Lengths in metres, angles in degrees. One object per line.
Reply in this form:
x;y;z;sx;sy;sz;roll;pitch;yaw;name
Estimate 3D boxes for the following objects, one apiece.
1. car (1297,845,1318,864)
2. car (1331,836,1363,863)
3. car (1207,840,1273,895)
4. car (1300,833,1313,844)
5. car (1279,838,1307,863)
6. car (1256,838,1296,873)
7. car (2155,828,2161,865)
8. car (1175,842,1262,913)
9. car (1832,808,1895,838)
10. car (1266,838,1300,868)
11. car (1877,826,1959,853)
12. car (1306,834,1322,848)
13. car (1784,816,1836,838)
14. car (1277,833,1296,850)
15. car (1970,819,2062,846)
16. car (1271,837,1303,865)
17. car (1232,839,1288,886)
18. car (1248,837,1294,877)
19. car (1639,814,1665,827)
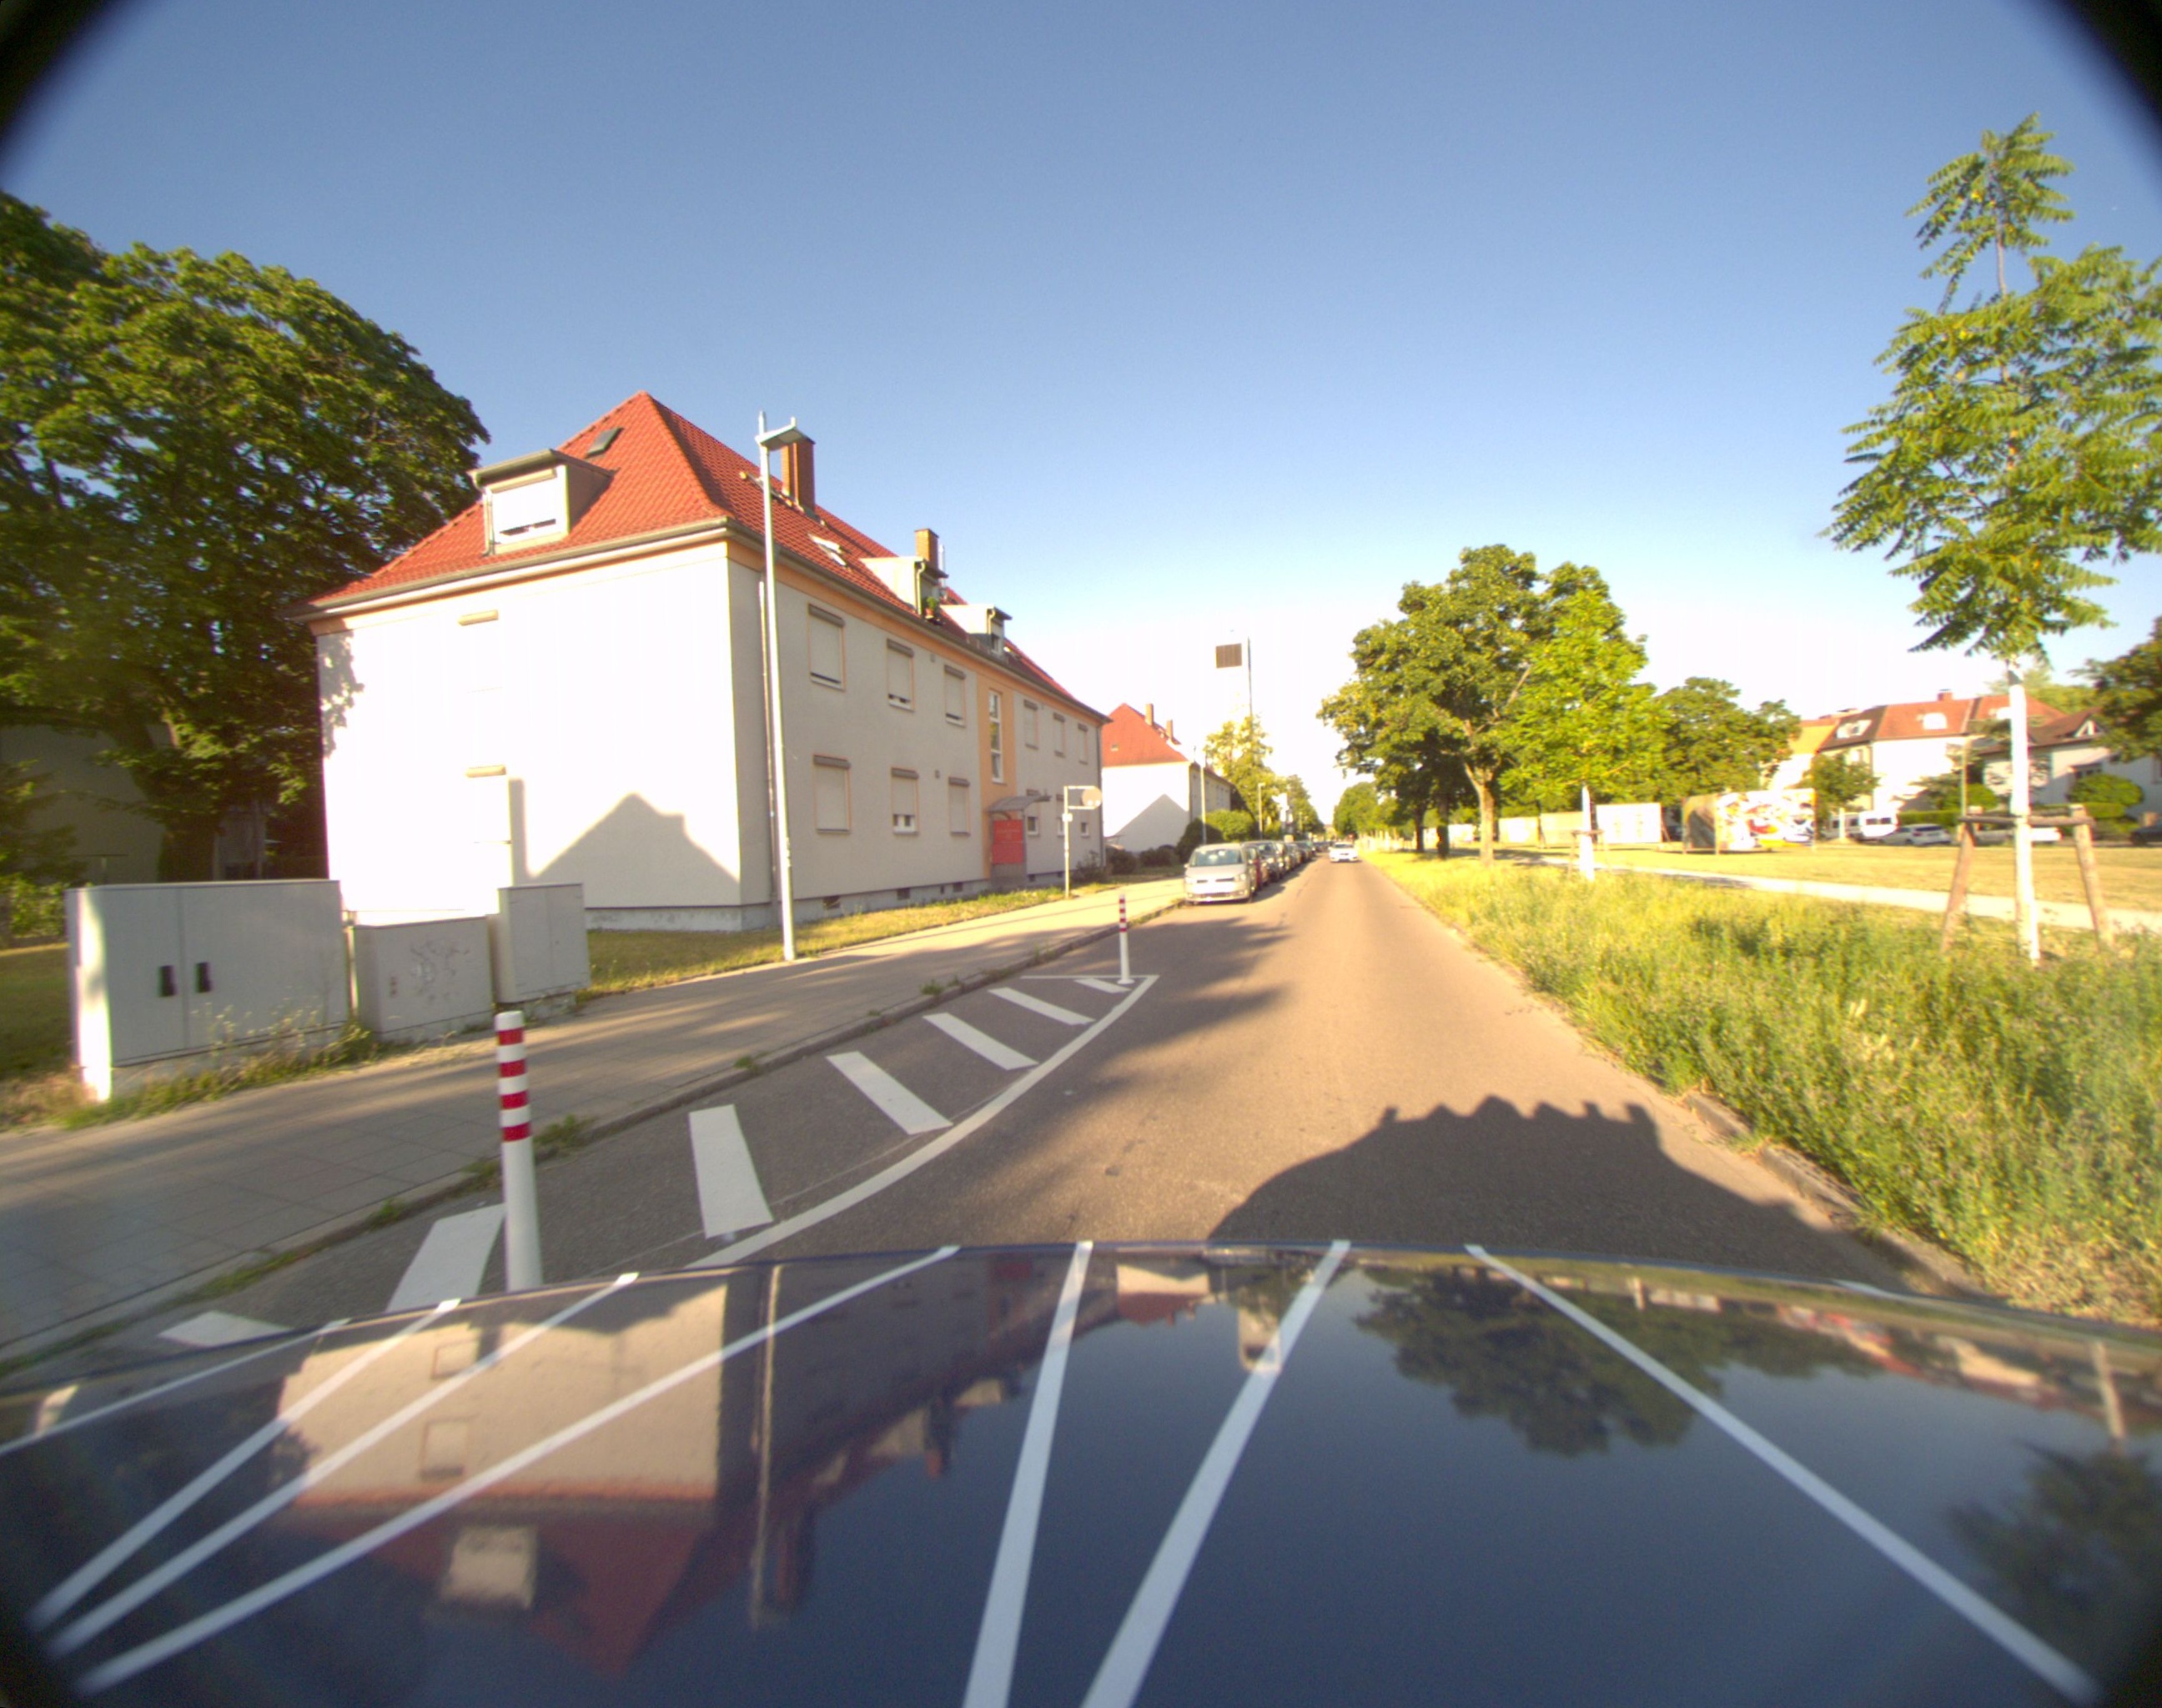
21.340;0.055;71.537;1.803;1.707;3.348;0;2;18;car
18.820;-0.341;53.963;1.867;1.686;4.305;-3;1;17;car
5.686;0.422;26.792;1.847;1.686;4.004;-3;1;17;car
37.038;-2.560;124.723;1.847;1.686;4.004;-3;1;17;car
15.632;-0.265;55.944;1.847;1.686;4.004;-3;1;17;car
10.776;0.037;41.772;1.847;1.686;4.004;-3;1;17;car
46.604;-0.294;30.700;1.822;1.571;3.841;-2;1;19;car
3.929;0.581;21.147;1.847;1.686;4.004;-3;1;17;car
62.745;-2.455;60.992;1.995;2.201;4.136;-1;1;22;car
12.550;-0.092;47.028;1.847;1.686;4.004;-3;1;17;car
52.440;-0.932;47.692;1.822;1.571;3.841;-2;1;19;car
30.625;-1.733;99.852;1.847;1.686;4.004;-3;1;17;car
67.131;-2.458;70.046;1.995;1.935;4.136;-1;1;22;car
22.134;-1.381;81.722;1.847;1.686;4.004;-3;1;17;car
58.491;-1.317;47.651;1.822;1.571;3.972;-2;1;19;car
14.037;-0.215;51.669;1.847;1.686;4.004;-3;1;17;car
7.324;0.294;30.847;1.847;1.686;4.004;-3;1;17;car
9.151;0.115;36.389;1.847;1.686;4.004;-3;1;17;car
78.734;-4.579;104.804;1.844;1.732;3.900;-1;1;22;car
